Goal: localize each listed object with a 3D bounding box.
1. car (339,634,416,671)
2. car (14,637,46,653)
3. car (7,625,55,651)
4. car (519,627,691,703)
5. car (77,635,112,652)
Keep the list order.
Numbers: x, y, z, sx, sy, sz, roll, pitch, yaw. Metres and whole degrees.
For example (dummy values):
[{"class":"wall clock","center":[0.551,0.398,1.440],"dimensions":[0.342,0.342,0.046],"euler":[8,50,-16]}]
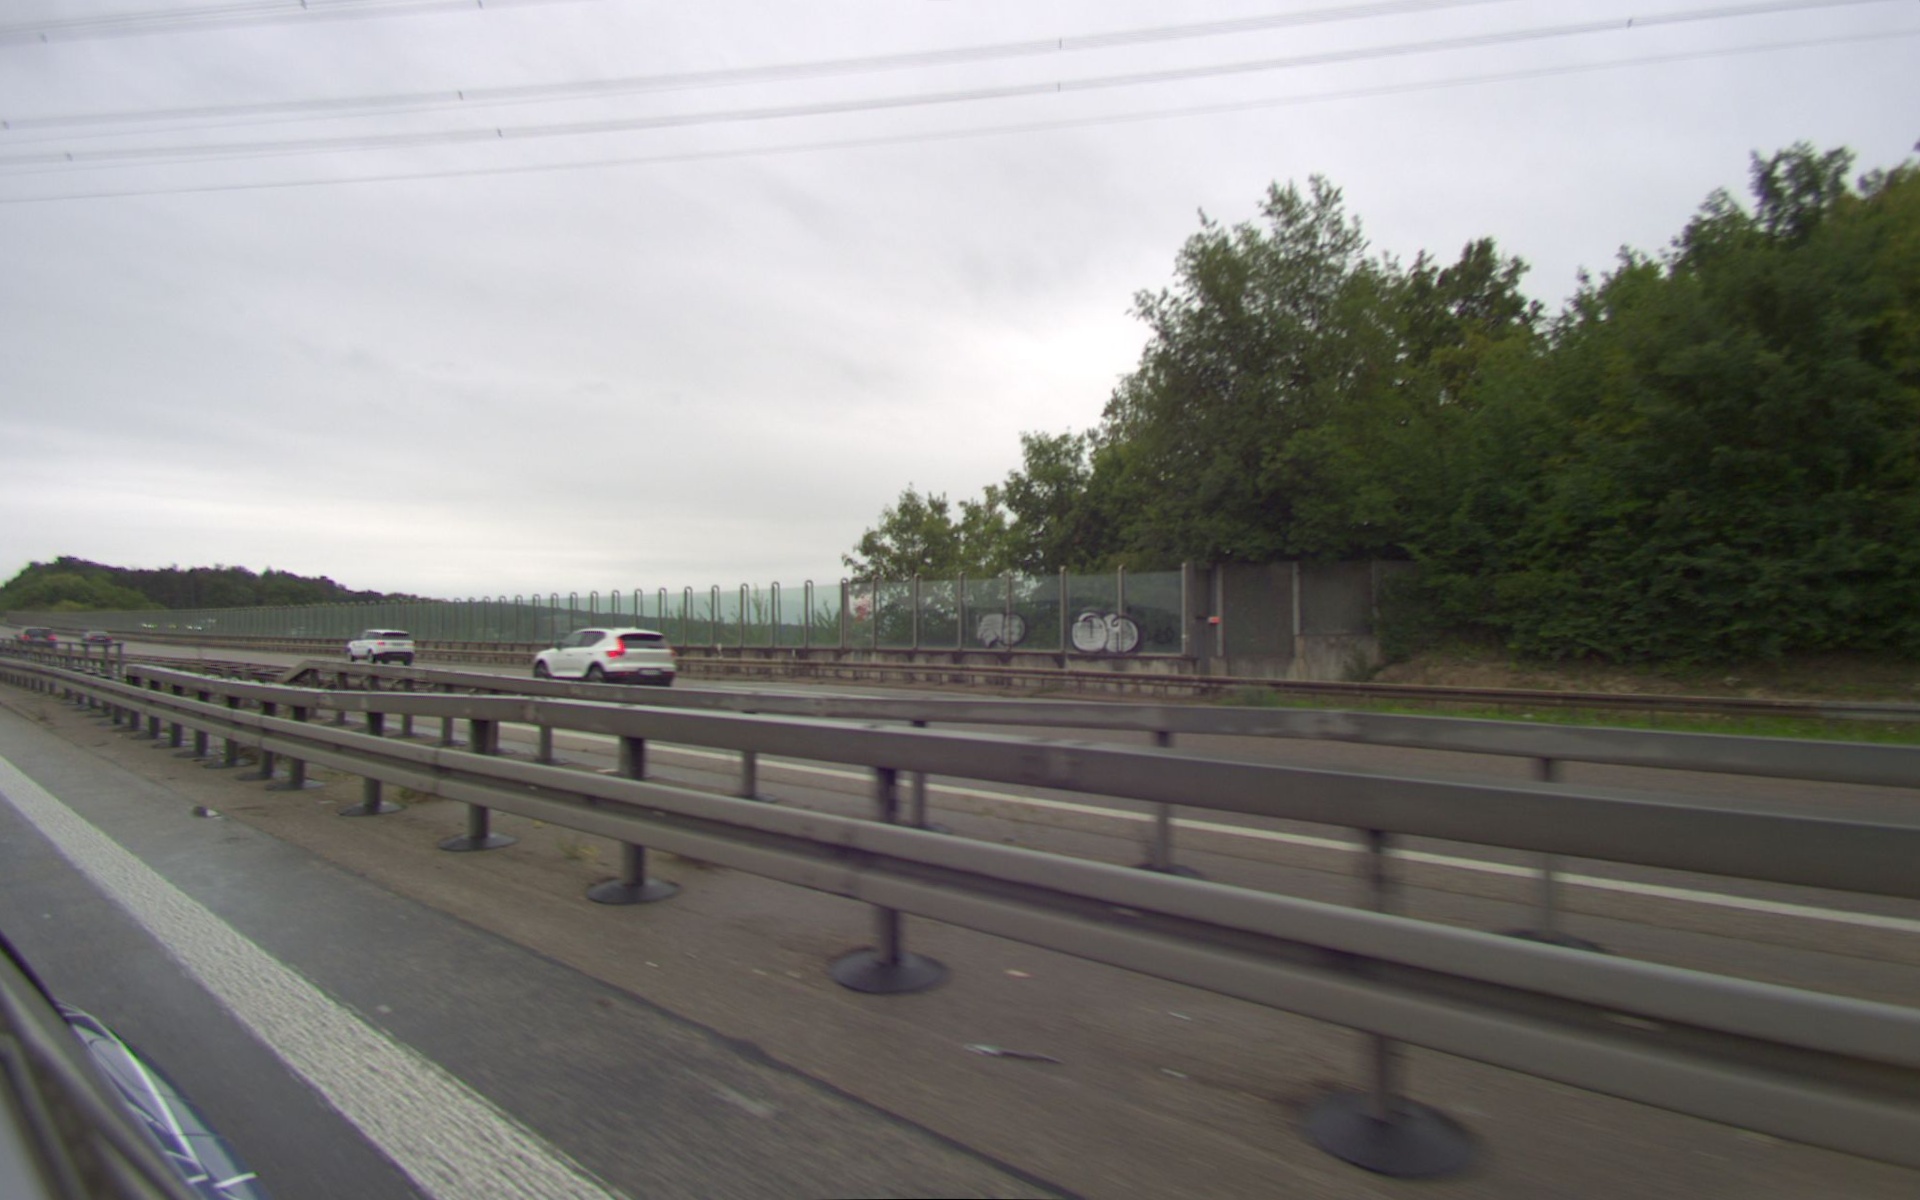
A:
[{"class":"car","center":[-30.328,2.684,52.609],"dimensions":[4.913,1.833,1.929],"euler":[-2,-3,40]},{"class":"car","center":[-86.546,4.198,94.175],"dimensions":[4.087,1.448,1.796],"euler":[-2,-4,42]},{"class":"car","center":[-59.186,2.406,64.466],"dimensions":[3.813,1.606,1.809],"euler":[-2,-3,41]},{"class":"car","center":[-8.715,1.524,24.654],"dimensions":[4.711,1.678,1.885],"euler":[-2,-3,41]},{"class":"car","center":[-78.369,3.949,91.612],"dimensions":[3.813,1.511,1.809],"euler":[-2,-3,41]}]
